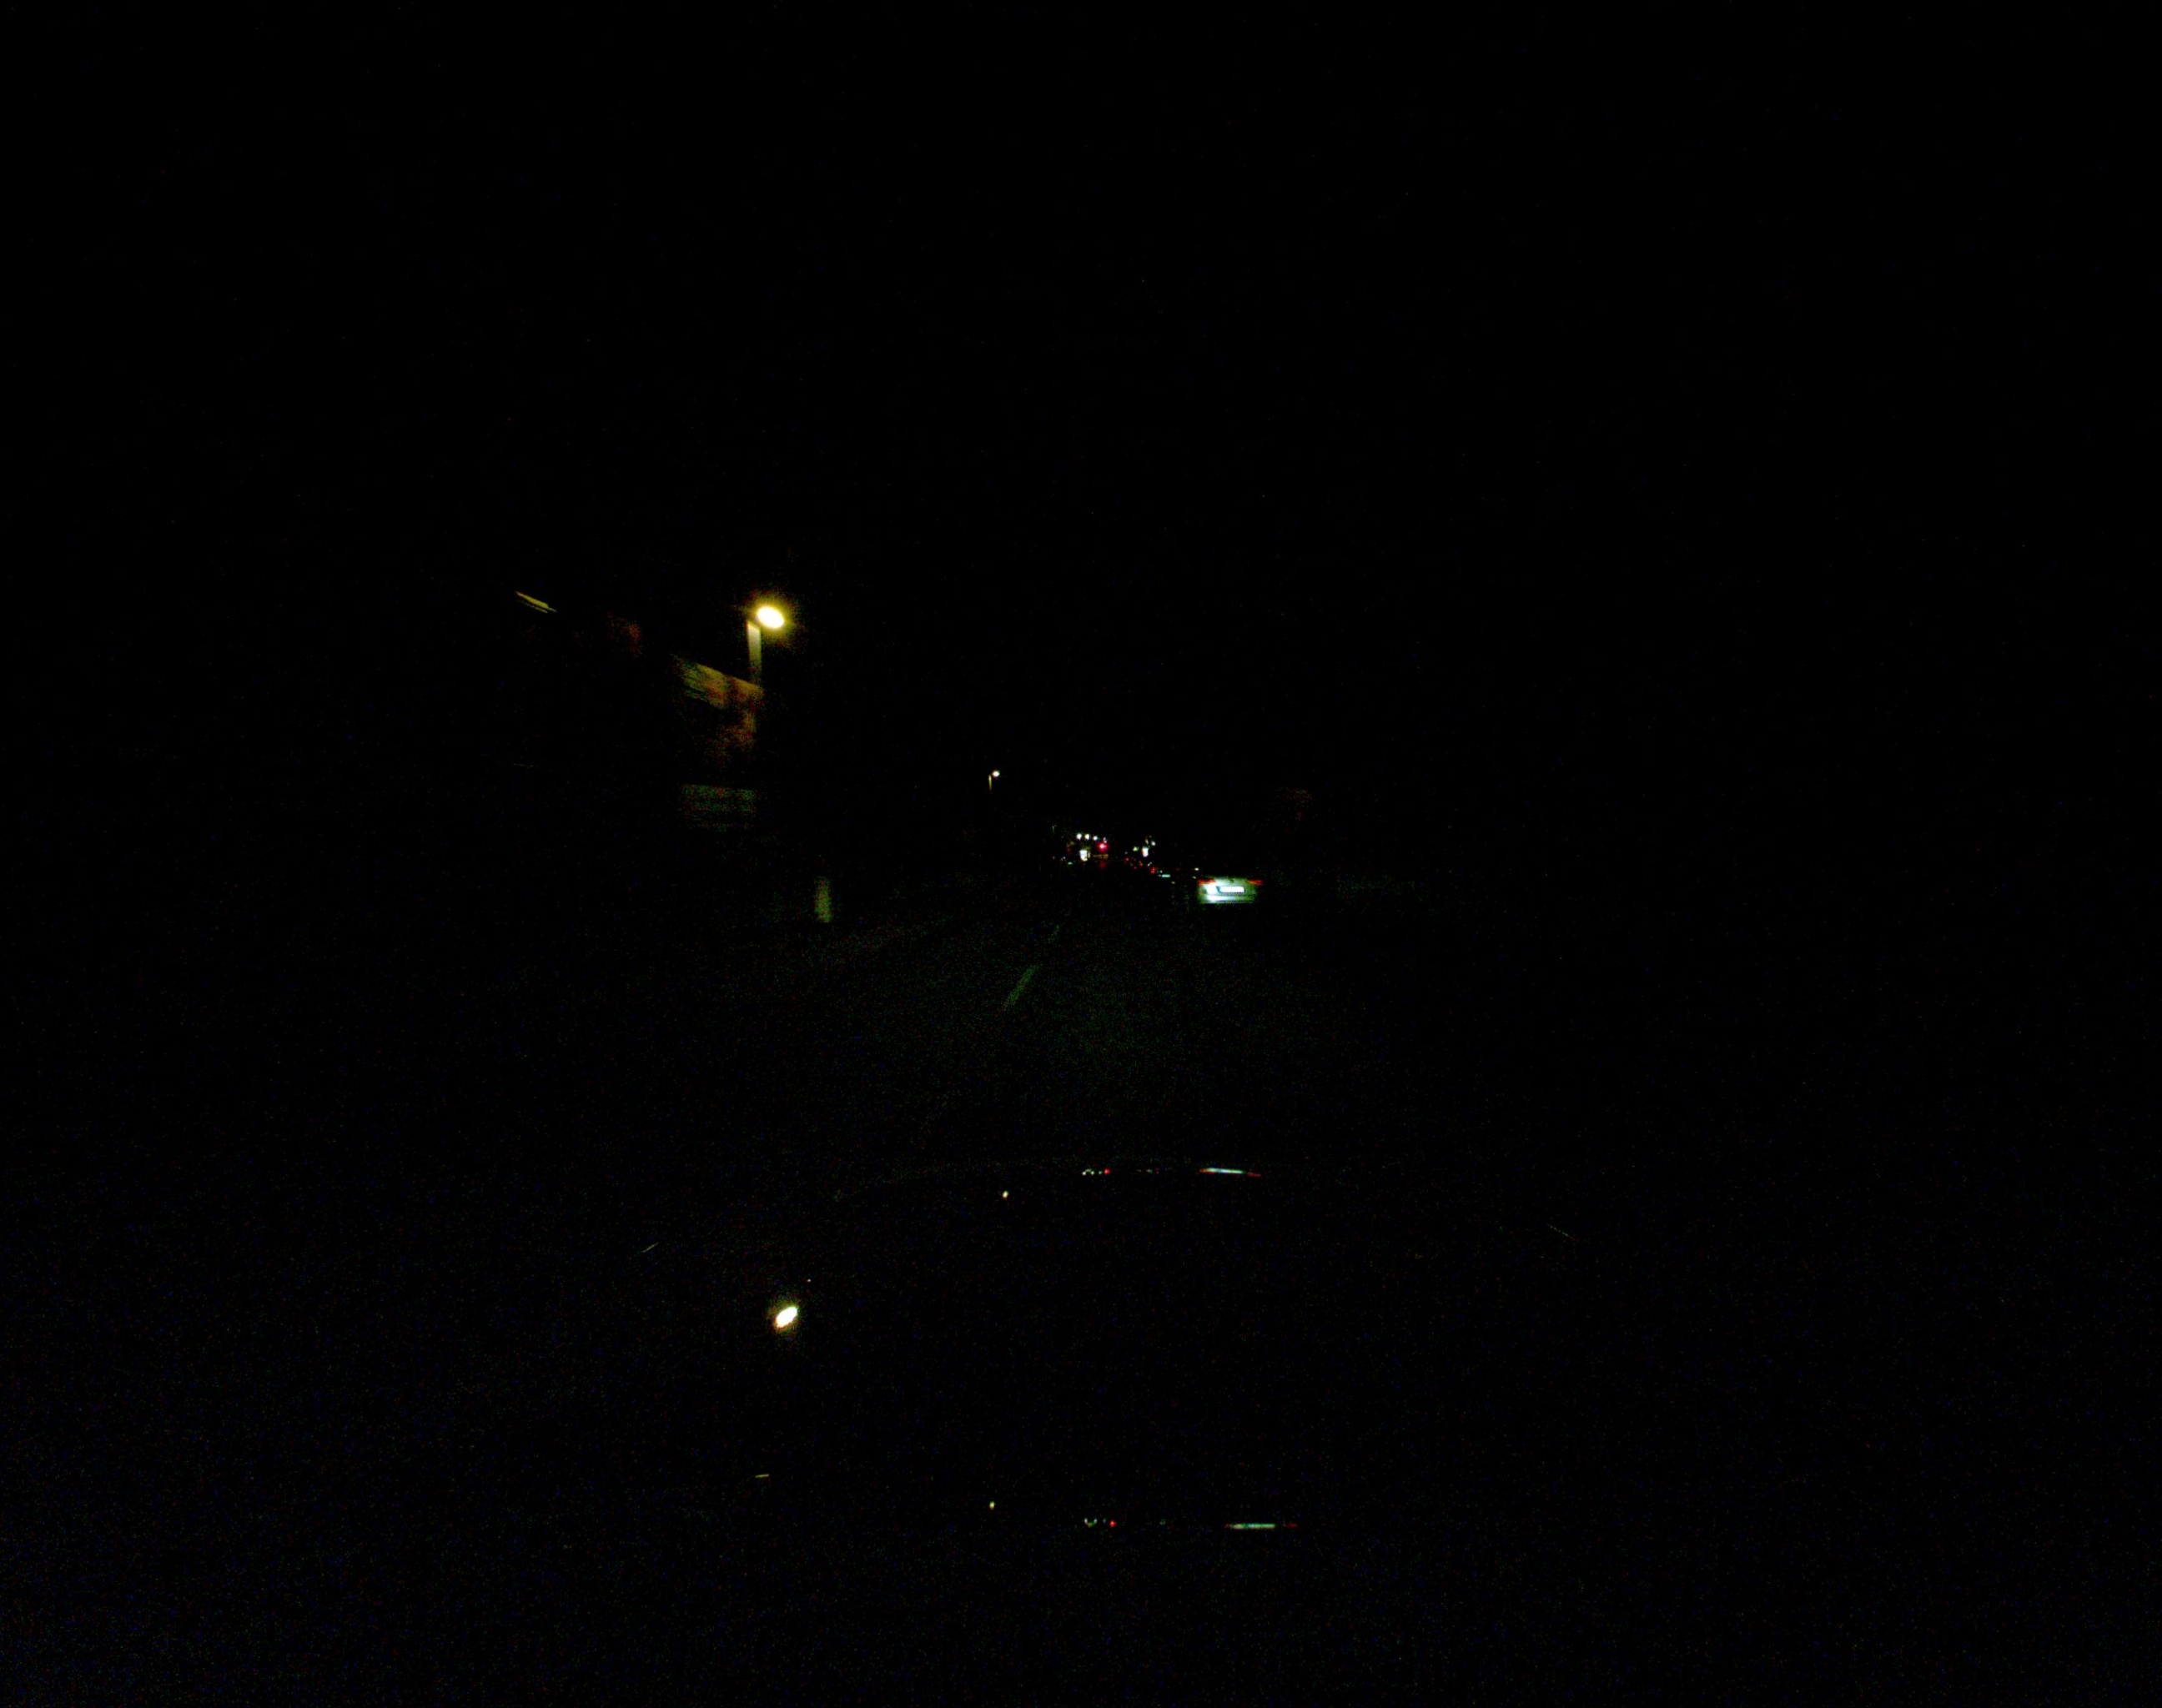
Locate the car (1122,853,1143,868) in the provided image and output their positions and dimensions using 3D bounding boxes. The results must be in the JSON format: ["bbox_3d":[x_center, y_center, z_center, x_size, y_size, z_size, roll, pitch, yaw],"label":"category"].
[{"bbox_3d":[5.253,0.675,83.690,1.679,1.448,3.994,0,0,-5],"label":"car"}]

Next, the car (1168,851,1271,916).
[{"bbox_3d":[3.397,0.668,20.722,1.758,1.475,4.273,1,0,-2],"label":"car"}]

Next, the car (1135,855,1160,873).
[{"bbox_3d":[5.241,0.755,63.579,1.859,1.403,4.007,0,0,6],"label":"car"}]

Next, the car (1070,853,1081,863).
[{"bbox_3d":[-0.841,0.645,127.750,1.747,1.539,3.731,-1,0,0],"label":"car"}]

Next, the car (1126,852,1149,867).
[{"bbox_3d":[5.463,0.534,79.040,1.679,1.448,3.995,0,0,-3],"label":"car"}]

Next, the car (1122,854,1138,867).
[{"bbox_3d":[5.716,0.701,94.864,1.677,1.448,3.999,0,0,0],"label":"car"}]

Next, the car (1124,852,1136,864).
[{"bbox_3d":[6.887,0.555,115.262,1.675,1.539,4.003,-1,0,2],"label":"car"}]

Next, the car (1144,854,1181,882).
[{"bbox_3d":[4.355,0.719,43.925,1.624,1.439,3.864,-1,0,0],"label":"car"}]

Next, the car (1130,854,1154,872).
[{"bbox_3d":[5.078,0.754,68.434,1.677,1.448,3.999,0,0,0],"label":"car"}]

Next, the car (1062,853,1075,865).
[{"bbox_3d":[-1.725,0.636,110.635,1.748,1.539,3.728,-1,0,-2],"label":"car"}]
